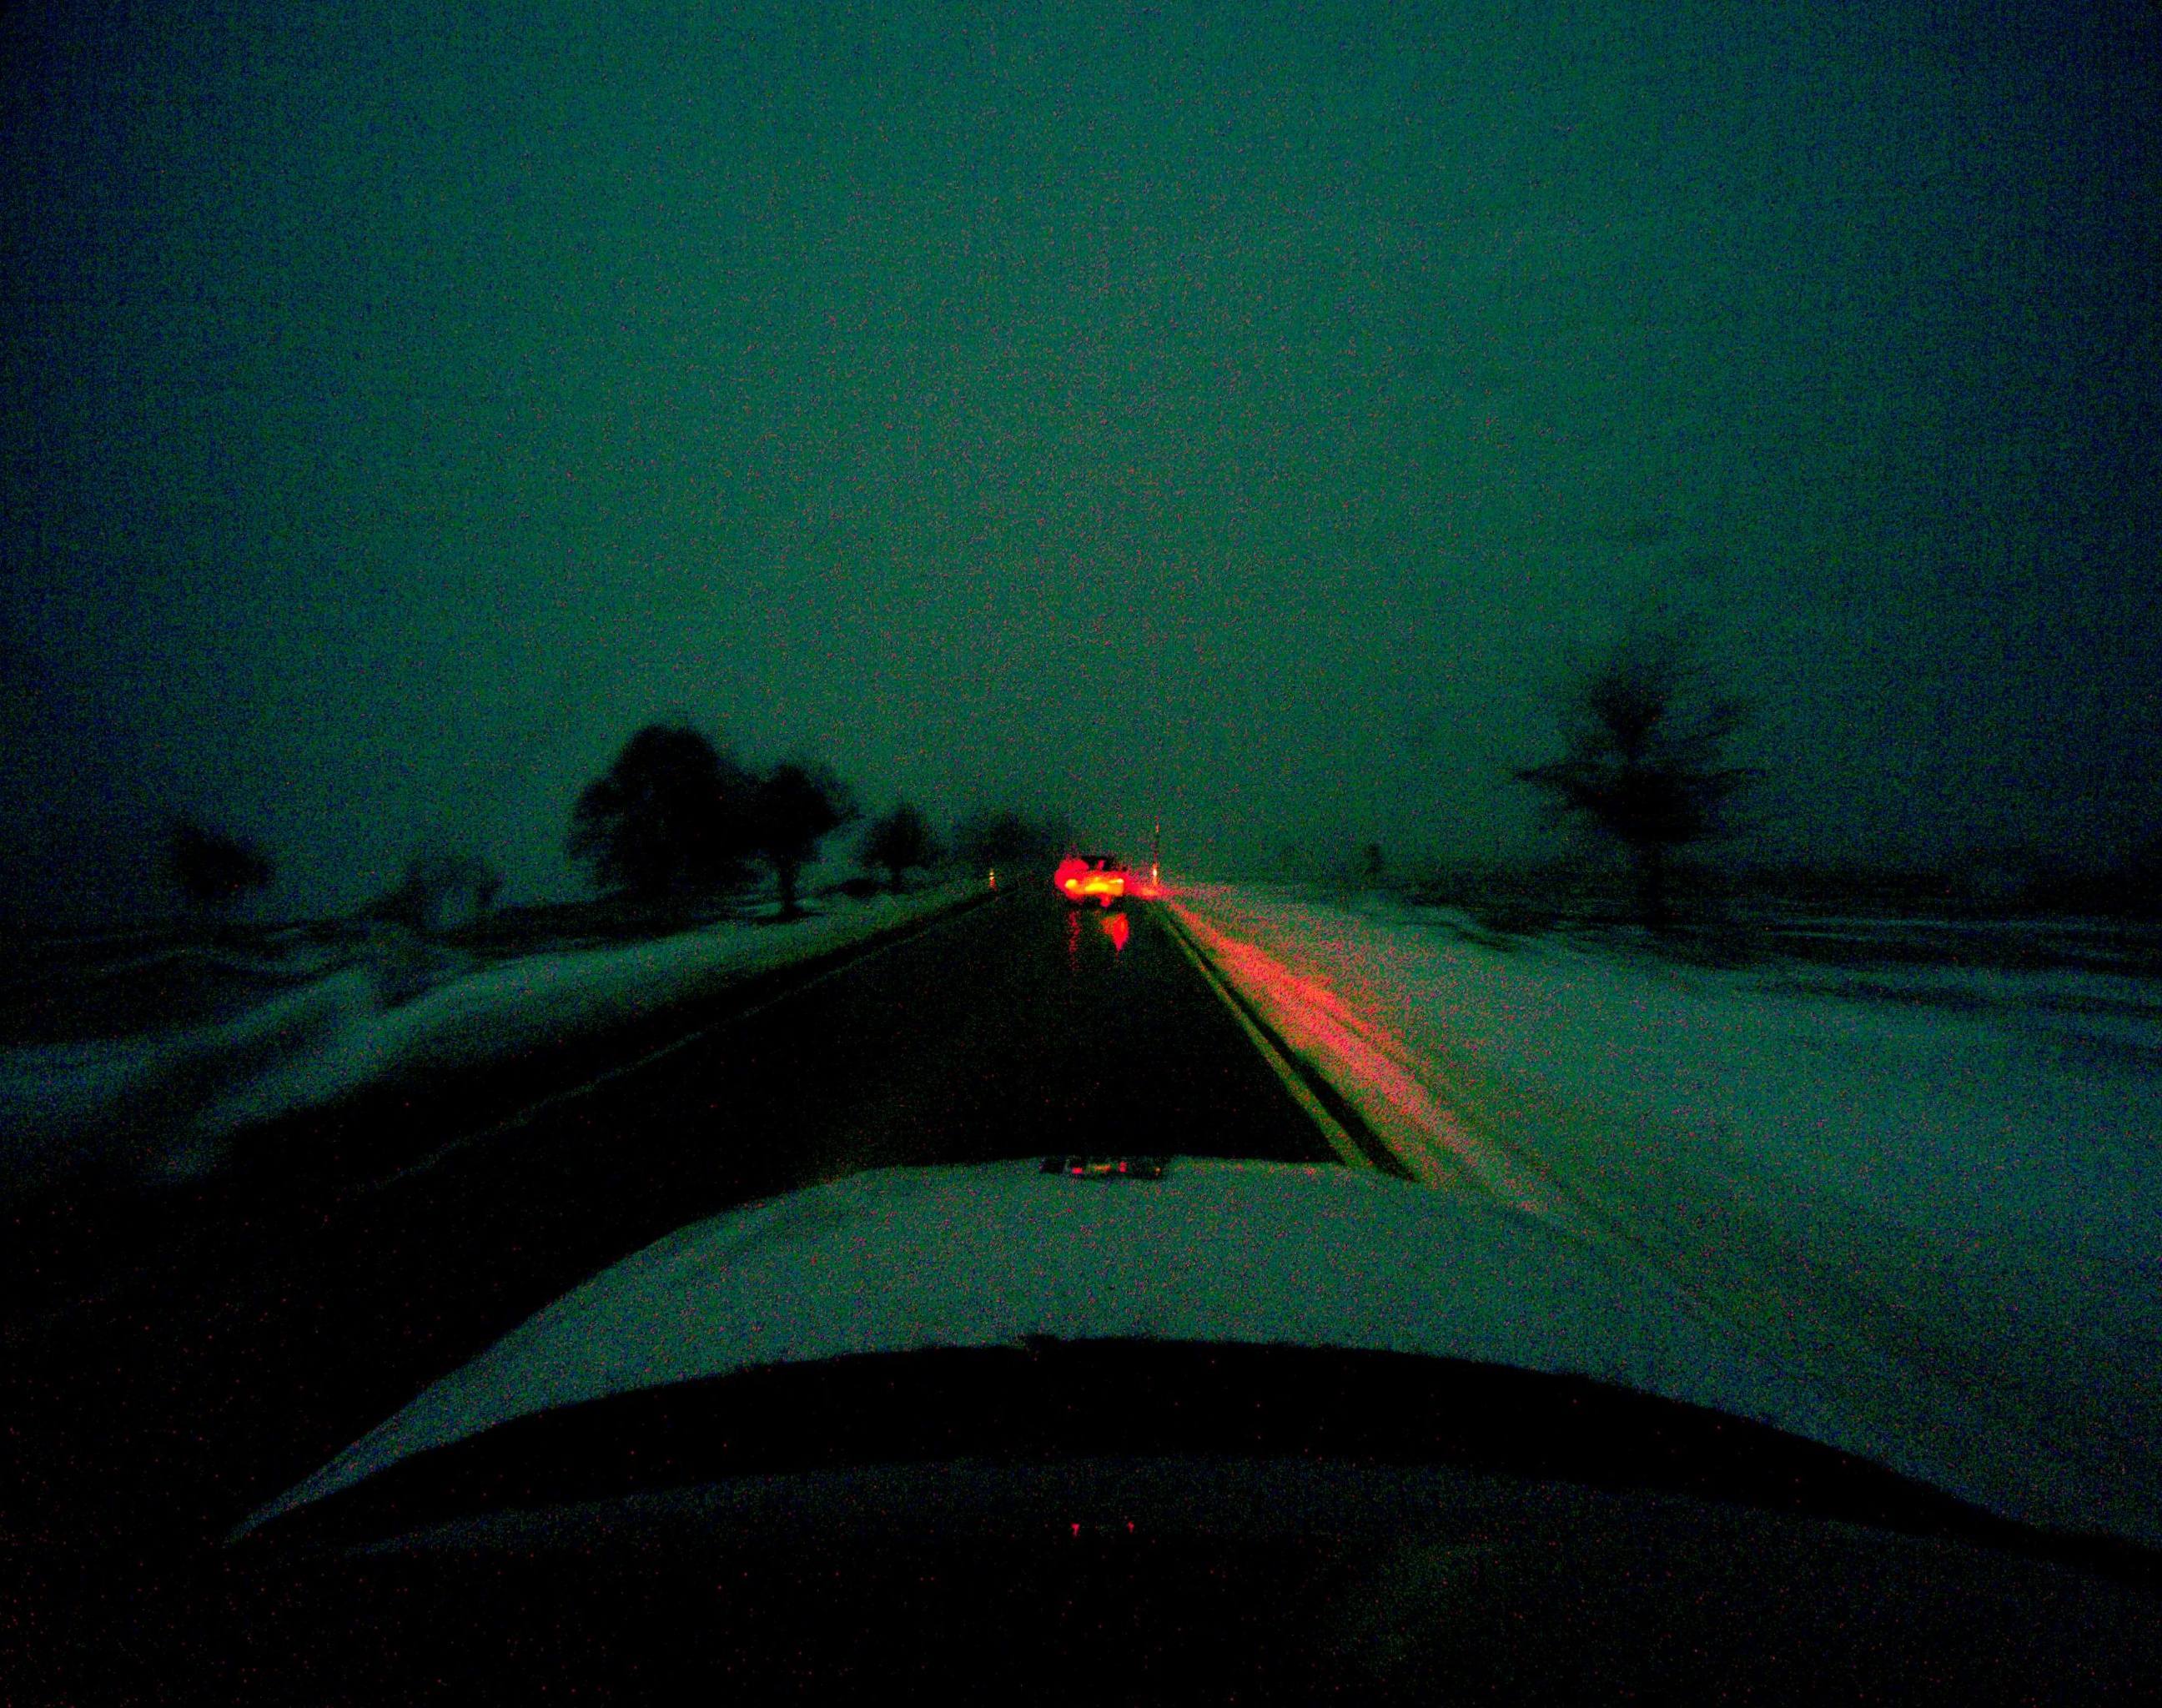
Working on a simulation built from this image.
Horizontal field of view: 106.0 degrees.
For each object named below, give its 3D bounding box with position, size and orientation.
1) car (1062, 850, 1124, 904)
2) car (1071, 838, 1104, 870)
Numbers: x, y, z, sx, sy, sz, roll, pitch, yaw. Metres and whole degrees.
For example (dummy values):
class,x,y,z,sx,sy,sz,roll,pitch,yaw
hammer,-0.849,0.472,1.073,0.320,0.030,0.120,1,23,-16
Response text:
class,x,y,z,sx,sy,sz,roll,pitch,yaw
car,0.331,0.642,24.115,1.701,1.463,3.999,0,-1,0
car,0.377,0.017,41.859,1.472,1.508,3.056,-2,-1,4
